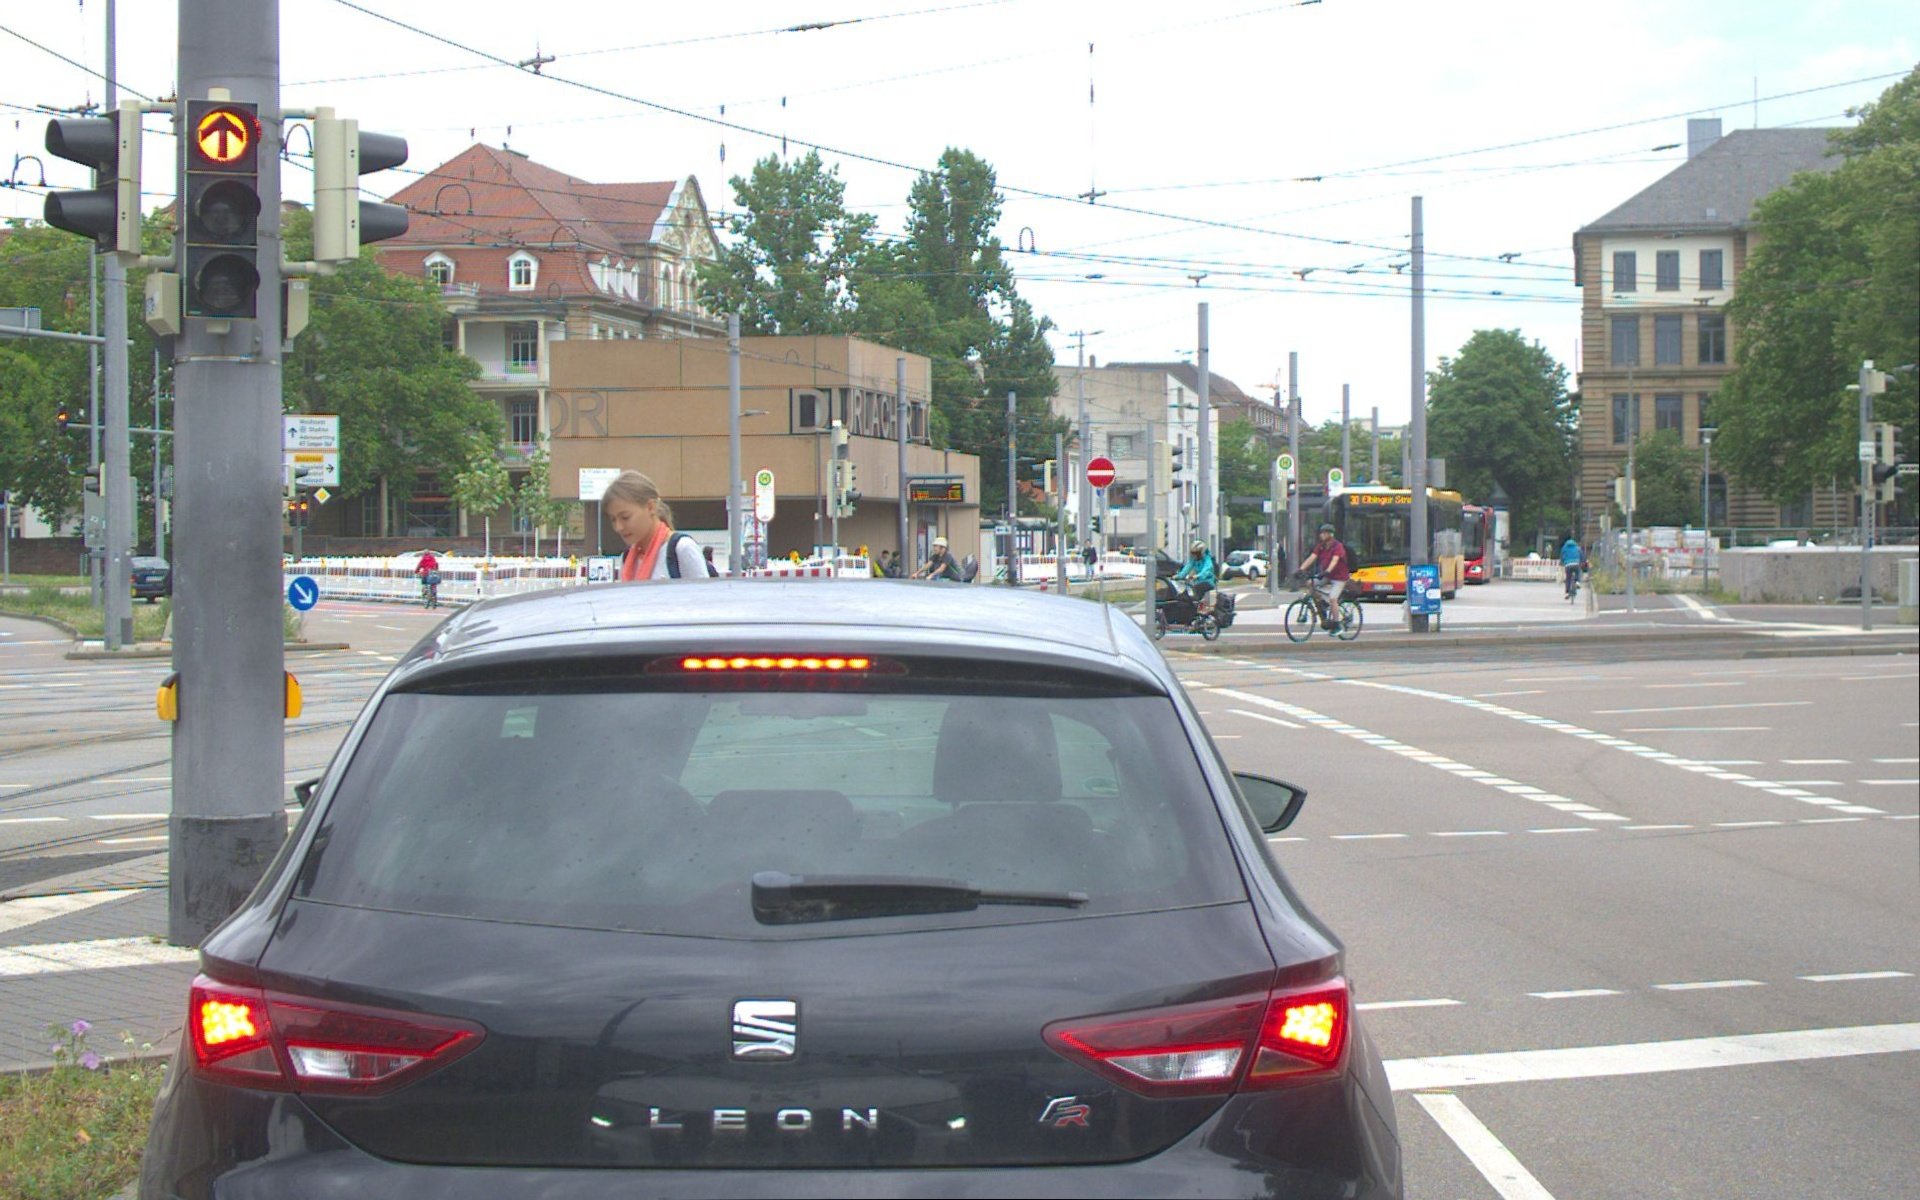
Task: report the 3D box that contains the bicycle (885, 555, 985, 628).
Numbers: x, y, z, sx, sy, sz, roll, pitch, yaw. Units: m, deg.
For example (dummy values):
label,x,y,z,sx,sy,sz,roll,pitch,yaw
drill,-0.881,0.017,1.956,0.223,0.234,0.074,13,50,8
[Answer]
label,x,y,z,sx,sy,sz,roll,pitch,yaw
bicycle,-0.457,-0.165,63.211,1.730,1.317,0.645,-1,1,-17

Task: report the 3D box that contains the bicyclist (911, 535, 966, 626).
label,x,y,z,sx,sy,sz,roll,pitch,yaw
bicyclist,-0.398,-0.362,63.224,0.854,1.667,0.654,-1,1,-17

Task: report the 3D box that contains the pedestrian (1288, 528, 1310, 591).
label,x,y,z,sx,sy,sz,roll,pitch,yaw
pedestrian,10.392,-1.251,105.402,0.621,1.911,0.710,0,1,3

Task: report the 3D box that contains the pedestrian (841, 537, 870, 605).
label,x,y,z,sx,sy,sz,roll,pitch,yaw
pedestrian,-2.953,-0.815,97.372,0.708,1.911,0.623,0,1,7

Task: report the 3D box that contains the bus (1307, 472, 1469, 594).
label,x,y,z,sx,sy,sz,roll,pitch,yaw
bus,11.761,-1.810,93.450,2.962,3.112,11.531,0,1,14

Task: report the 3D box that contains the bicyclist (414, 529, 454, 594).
label,x,y,z,sx,sy,sz,roll,pitch,yaw
bicyclist,-14.141,-1.036,92.455,0.882,1.726,0.894,0,1,-22

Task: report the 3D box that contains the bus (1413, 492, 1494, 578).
label,x,y,z,sx,sy,sz,roll,pitch,yaw
bus,19.670,-2.571,136.660,2.655,3.272,10.990,0,1,11

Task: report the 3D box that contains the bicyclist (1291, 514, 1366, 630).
label,x,y,z,sx,sy,sz,roll,pitch,yaw
bicyclist,6.063,-0.468,56.518,0.777,1.891,0.994,0,1,44

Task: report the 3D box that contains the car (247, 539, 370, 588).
label,x,y,z,sx,sy,sz,roll,pitch,yaw
car,-23.282,-1.313,123.032,3.987,1.678,2.000,-1,0,1

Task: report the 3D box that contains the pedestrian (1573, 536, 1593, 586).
label,x,y,z,sx,sy,sz,roll,pitch,yaw
pedestrian,25.340,-1.599,139.887,0.662,2.007,0.692,0,1,0

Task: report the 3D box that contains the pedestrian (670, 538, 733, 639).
label,x,y,z,sx,sy,sz,roll,pitch,yaw
pedestrian,-5.031,-0.230,66.918,0.700,1.927,1.028,0,1,38

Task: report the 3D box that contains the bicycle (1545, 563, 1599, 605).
label,x,y,z,sx,sy,sz,roll,pitch,yaw
bicycle,16.508,-0.448,92.734,0.865,1.101,2.302,0,1,-5

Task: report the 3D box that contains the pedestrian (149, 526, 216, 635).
label,x,y,z,sx,sy,sz,roll,pitch,yaw
pedestrian,-13.891,-0.360,61.412,1.027,1.927,0.701,-1,1,-25

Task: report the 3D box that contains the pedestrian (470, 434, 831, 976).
label,x,y,z,sx,sy,sz,roll,pitch,yaw
pedestrian,-1.136,0.364,12.689,1.101,1.900,0.735,0,0,-43

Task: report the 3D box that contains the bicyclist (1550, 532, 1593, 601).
label,x,y,z,sx,sy,sz,roll,pitch,yaw
bicyclist,16.495,-0.903,92.791,0.871,1.845,1.048,0,1,-6

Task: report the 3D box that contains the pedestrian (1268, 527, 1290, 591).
label,x,y,z,sx,sy,sz,roll,pitch,yaw
pedestrian,9.668,-1.243,104.150,0.621,1.911,0.698,0,1,9

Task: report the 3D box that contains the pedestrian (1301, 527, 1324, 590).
label,x,y,z,sx,sy,sz,roll,pitch,yaw
pedestrian,10.727,-1.260,104.607,0.621,1.911,0.698,0,1,9

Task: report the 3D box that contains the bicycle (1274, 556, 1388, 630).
label,x,y,z,sx,sy,sz,roll,pitch,yaw
bicycle,6.108,-0.128,56.554,0.777,1.180,2.027,1,1,44

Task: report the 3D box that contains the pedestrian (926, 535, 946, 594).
label,x,y,z,sx,sy,sz,roll,pitch,yaw
pedestrian,-0.782,-1.157,112.377,0.621,1.911,0.710,0,1,3

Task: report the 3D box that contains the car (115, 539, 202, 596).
label,x,y,z,sx,sy,sz,roll,pitch,yaw
car,-24.444,-0.978,104.763,1.993,1.678,4.001,0,0,-22

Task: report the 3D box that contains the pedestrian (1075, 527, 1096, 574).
label,x,y,z,sx,sy,sz,roll,pitch,yaw
pedestrian,5.108,-2.008,139.906,0.622,1.911,0.709,-1,0,25

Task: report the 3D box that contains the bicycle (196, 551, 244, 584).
label,x,y,z,sx,sy,sz,roll,pitch,yaw
bicycle,-27.649,-1.216,128.411,0.434,1.232,1.823,-1,0,43

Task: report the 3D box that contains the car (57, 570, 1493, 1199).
label,x,y,z,sx,sy,sz,roll,pitch,yaw
car,-0.355,0.689,5.994,1.704,1.444,3.813,0,1,-4

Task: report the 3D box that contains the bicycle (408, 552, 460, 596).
label,x,y,z,sx,sy,sz,roll,pitch,yaw
bicycle,-14.165,-0.705,92.561,0.891,1.174,2.302,0,1,-22

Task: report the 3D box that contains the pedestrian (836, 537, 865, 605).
label,x,y,z,sx,sy,sz,roll,pitch,yaw
pedestrian,-3.076,-0.817,96.576,0.708,1.911,0.623,0,1,7

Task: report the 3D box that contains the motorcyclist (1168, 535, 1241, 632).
label,x,y,z,sx,sy,sz,roll,pitch,yaw
motorcyclist,4.197,-0.288,58.915,0.977,1.644,0.750,-1,0,-33

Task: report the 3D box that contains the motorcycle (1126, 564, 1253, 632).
label,x,y,z,sx,sy,sz,roll,pitch,yaw
motorcycle,3.926,-0.040,58.745,2.135,1.135,0.744,-1,1,-33
